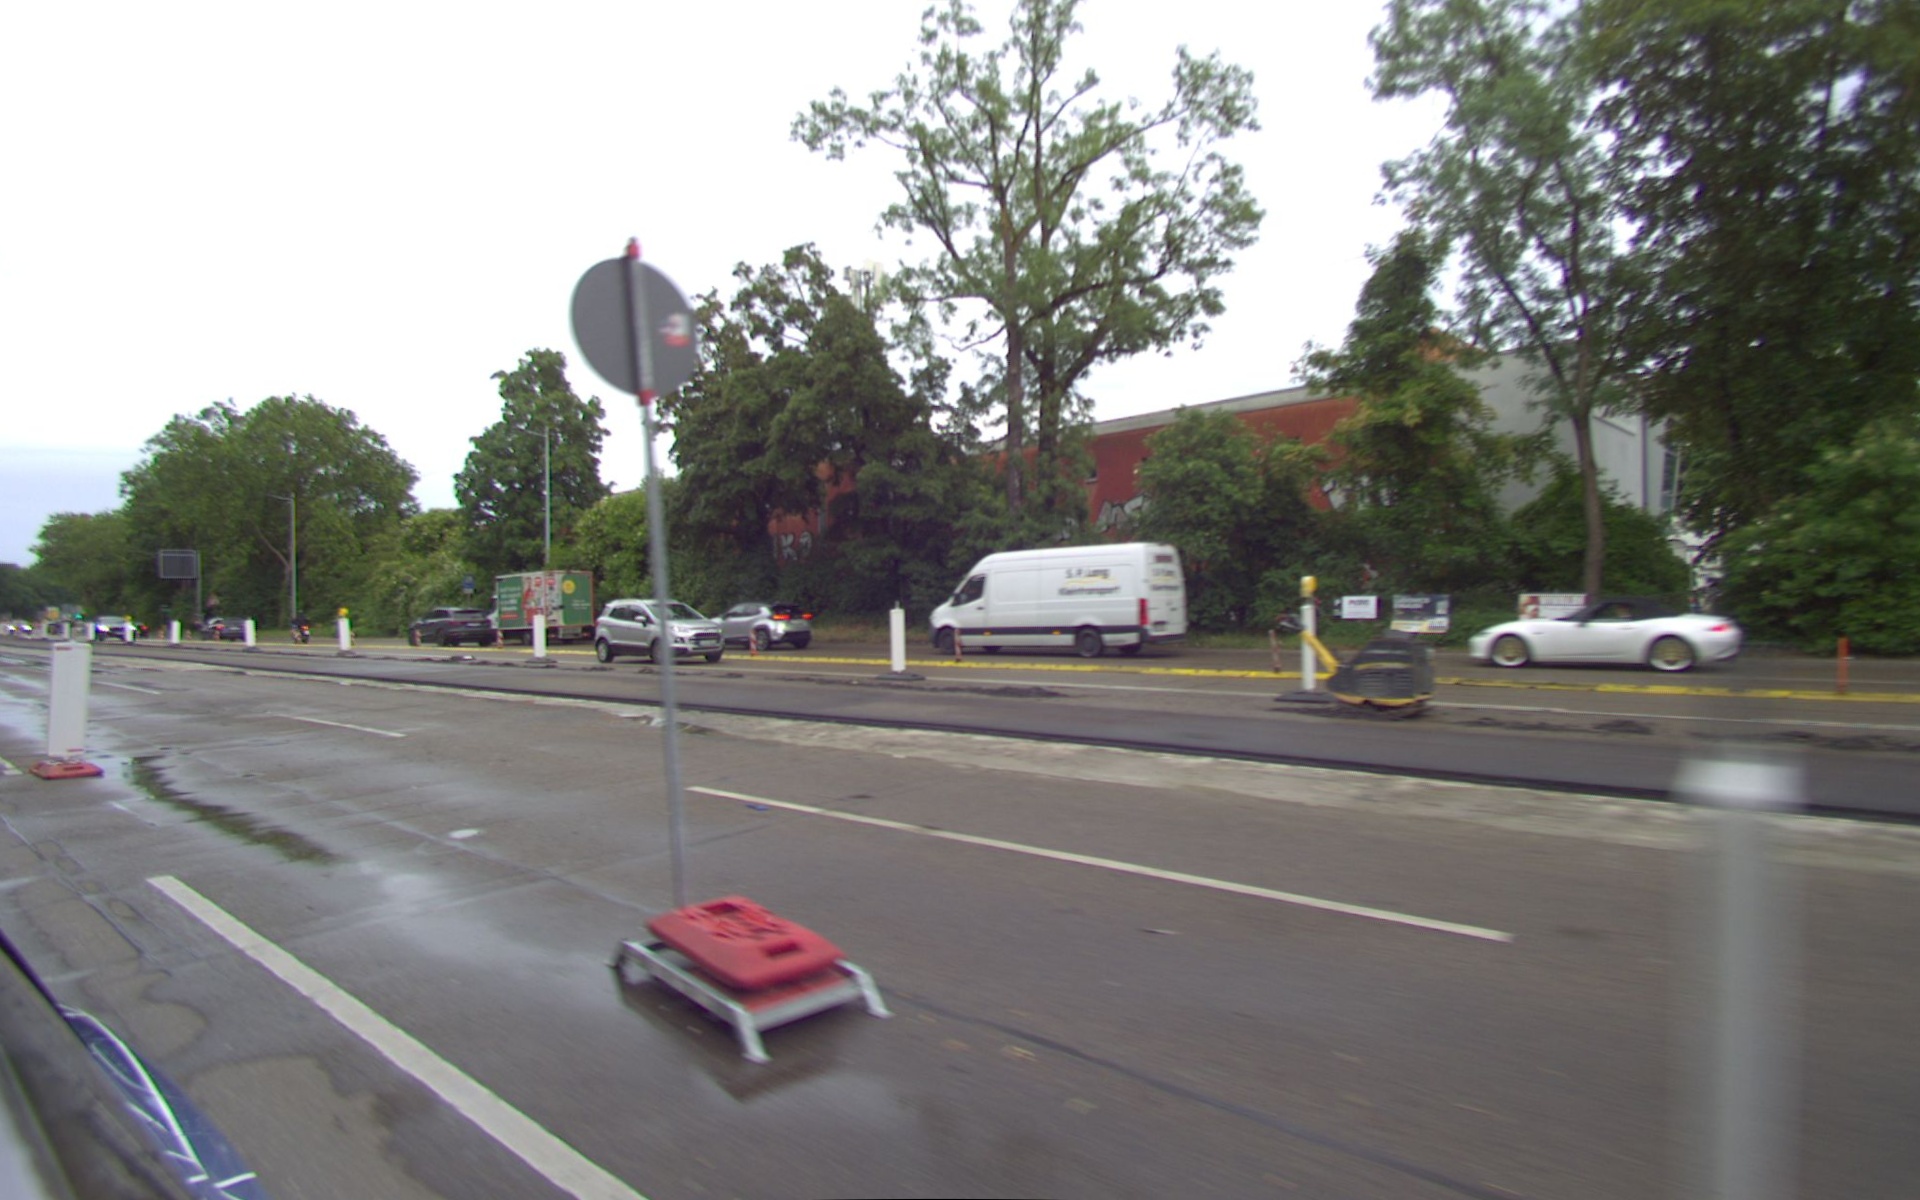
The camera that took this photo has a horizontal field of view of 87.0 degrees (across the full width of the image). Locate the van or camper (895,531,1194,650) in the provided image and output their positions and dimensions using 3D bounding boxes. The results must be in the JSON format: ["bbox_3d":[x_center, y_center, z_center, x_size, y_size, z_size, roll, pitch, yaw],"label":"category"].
[{"bbox_3d":[1.845,-0.184,25.216,7.727,2.574,1.973,-1,1,42],"label":"van or camper"}]

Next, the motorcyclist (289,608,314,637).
[{"bbox_3d":[-33.773,1.163,51.923,0.975,1.421,0.805,-1,1,41],"label":"motorcyclist"}]

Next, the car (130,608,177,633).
[{"bbox_3d":[-57.088,1.425,71.581,4.813,1.640,1.971,-1,1,44],"label":"car"}]

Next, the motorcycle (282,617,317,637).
[{"bbox_3d":[-34.021,1.384,52.146,2.592,0.996,0.800,-1,1,41],"label":"motorcycle"}]

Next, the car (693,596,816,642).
[{"bbox_3d":[-6.567,0.604,32.134,4.079,1.375,1.698,-1,-1,40],"label":"car"}]

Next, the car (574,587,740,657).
[{"bbox_3d":[-7.748,0.556,25.735,4.358,1.575,1.870,-2,1,39],"label":"car"}]

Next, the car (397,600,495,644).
[{"bbox_3d":[-21.339,0.897,41.956,4.804,1.706,1.973,-1,-1,41],"label":"car"}]

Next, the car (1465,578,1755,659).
[{"bbox_3d":[11.025,0.299,17.315,3.997,1.192,1.672,-1,1,40],"label":"car"}]

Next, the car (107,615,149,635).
[{"bbox_3d":[-68.444,2.031,83.229,4.395,1.563,1.869,-1,1,41],"label":"car"}]

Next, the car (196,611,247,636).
[{"bbox_3d":[-45.884,1.454,62.885,4.105,1.453,1.670,-1,0,41],"label":"car"}]

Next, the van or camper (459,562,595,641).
[{"bbox_3d":[-18.624,0.099,43.268,7.447,3.086,2.274,-1,0,41],"label":"van or camper"}]
